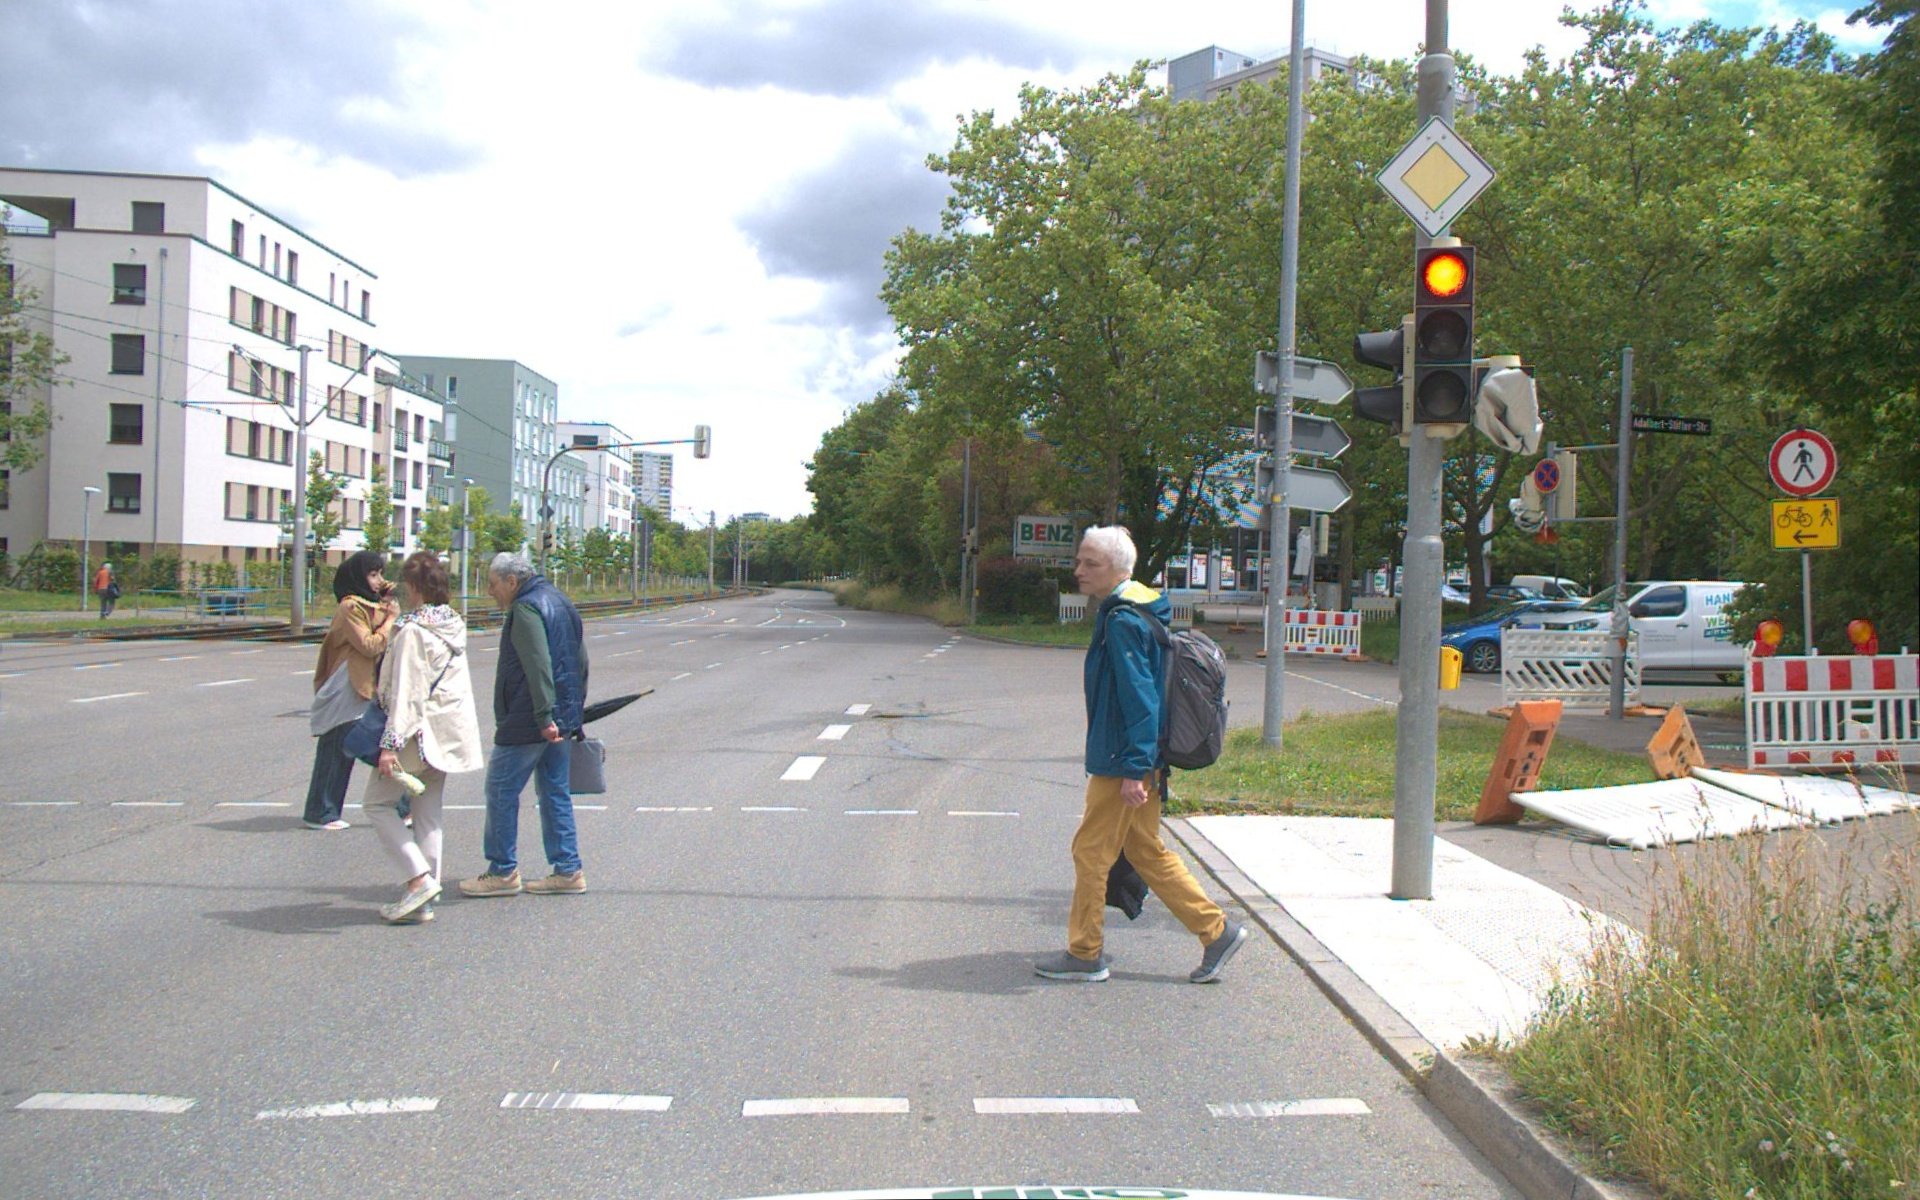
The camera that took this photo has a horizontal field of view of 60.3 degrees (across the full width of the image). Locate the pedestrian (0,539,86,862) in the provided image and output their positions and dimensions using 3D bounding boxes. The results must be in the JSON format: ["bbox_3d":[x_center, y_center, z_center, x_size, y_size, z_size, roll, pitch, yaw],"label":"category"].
[{"bbox_3d":[-5.286,0.500,8.646,0.893,1.635,0.930,1,0,4],"label":"pedestrian"}]

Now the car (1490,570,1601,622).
[{"bbox_3d":[23.932,-0.182,67.705,1.974,2.049,3.957,0,1,-32],"label":"car"}]

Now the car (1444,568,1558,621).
[{"bbox_3d":[21.364,-0.234,65.469,1.974,2.049,3.957,0,1,-32],"label":"car"}]

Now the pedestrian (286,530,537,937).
[{"bbox_3d":[-2.366,0.546,7.213,0.805,1.668,0.734,1,0,4],"label":"pedestrian"}]

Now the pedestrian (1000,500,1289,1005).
[{"bbox_3d":[0.756,0.537,6.495,0.988,1.805,0.949,1,0,14],"label":"pedestrian"}]

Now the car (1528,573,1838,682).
[{"bbox_3d":[13.424,0.500,30.868,4.976,1.906,1.947,1,0,-5],"label":"car"}]

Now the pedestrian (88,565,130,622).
[{"bbox_3d":[-23.209,-0.179,45.108,0.814,1.542,0.636,1,0,-1],"label":"pedestrian"}]

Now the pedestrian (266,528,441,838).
[{"bbox_3d":[-3.604,0.477,9.897,0.766,1.773,0.827,1,0,-5],"label":"pedestrian"}]

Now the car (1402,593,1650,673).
[{"bbox_3d":[11.540,0.654,33.893,4.386,1.512,1.988,1,0,-2],"label":"car"}]

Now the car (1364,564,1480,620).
[{"bbox_3d":[17.520,-0.314,62.835,1.974,2.049,3.957,0,1,-32],"label":"car"}]

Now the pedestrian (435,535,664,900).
[{"bbox_3d":[-1.959,0.535,7.988,0.850,1.663,0.766,1,0,4],"label":"pedestrian"}]
